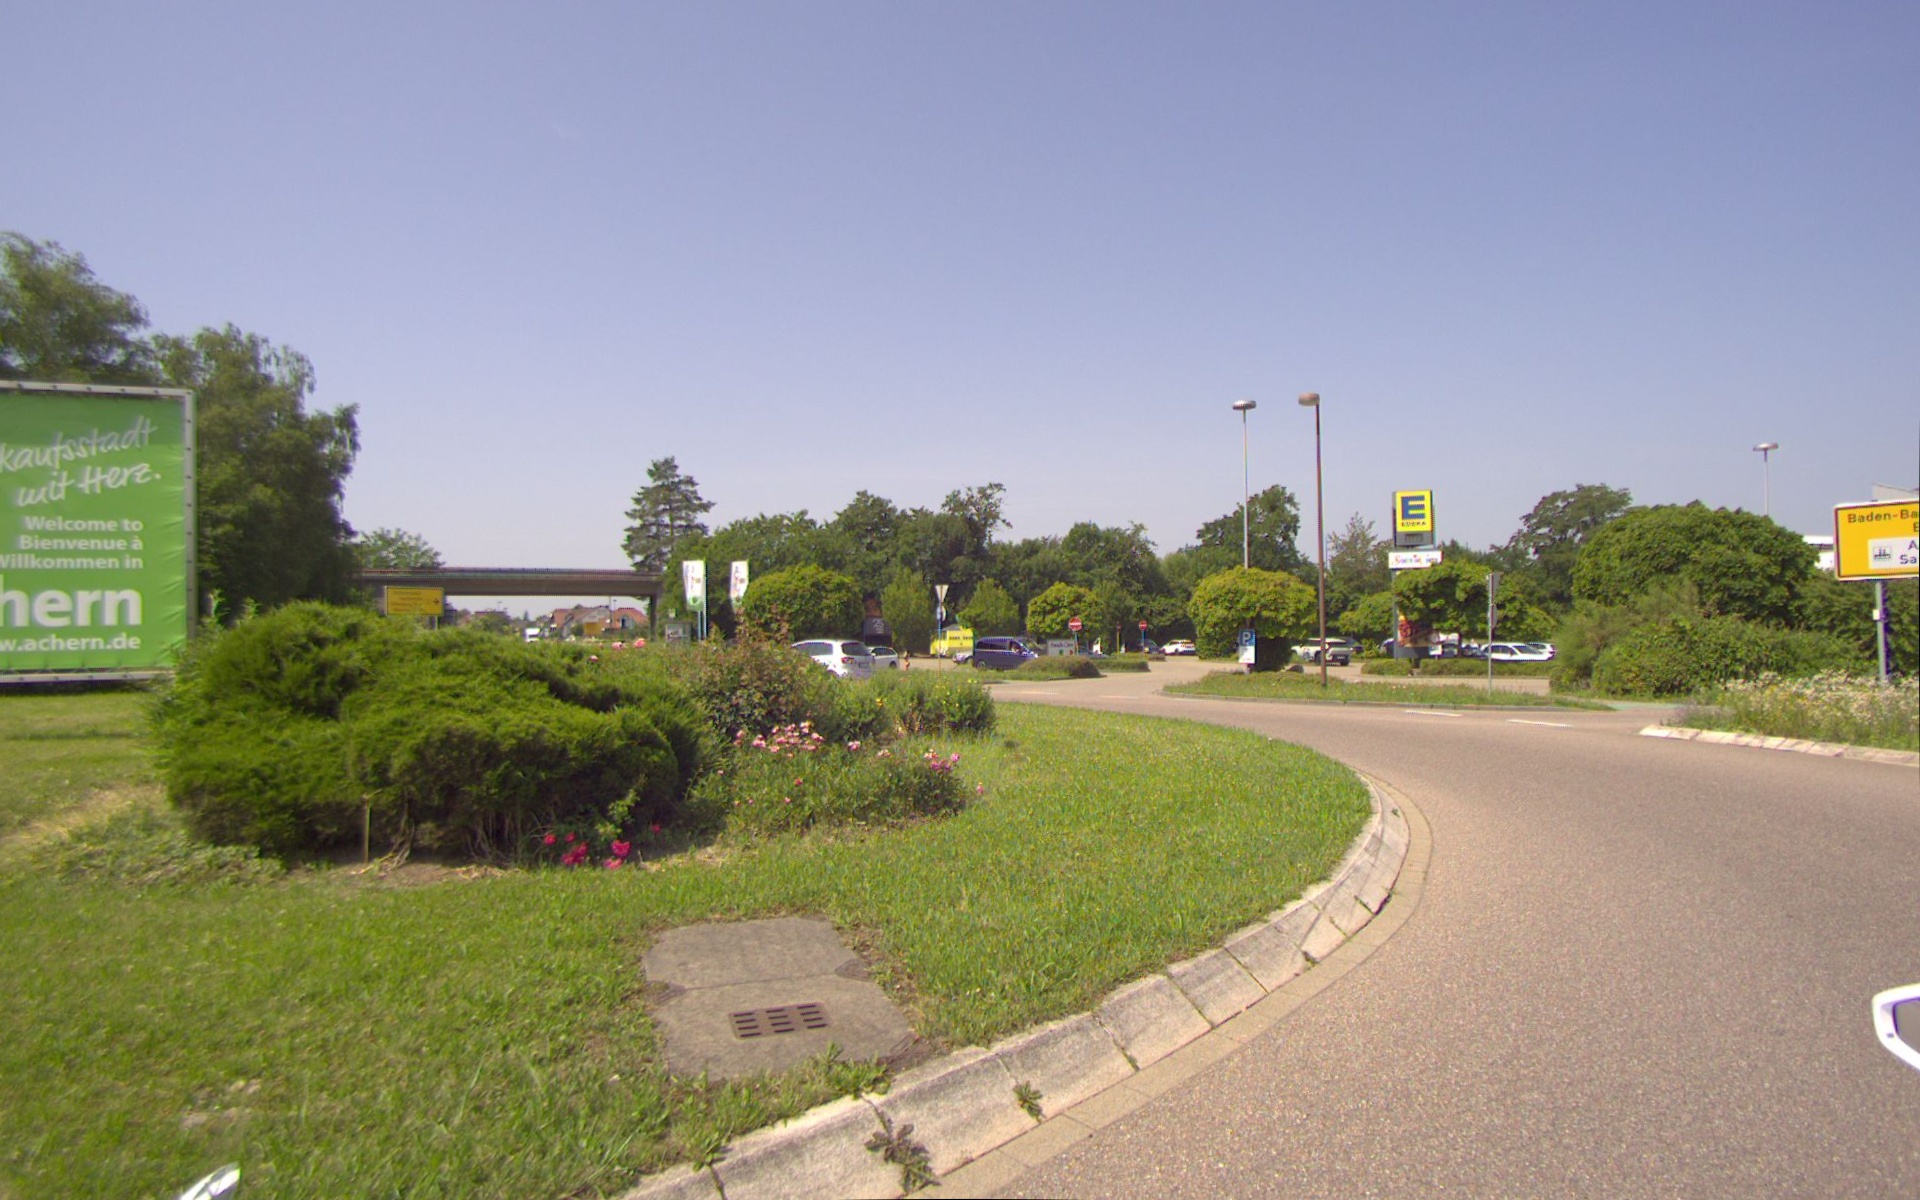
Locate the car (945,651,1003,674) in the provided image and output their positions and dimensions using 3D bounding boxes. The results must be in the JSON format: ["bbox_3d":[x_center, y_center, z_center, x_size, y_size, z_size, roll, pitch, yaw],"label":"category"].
[{"bbox_3d":[0.898,4.071,65.466,3.422,1.398,1.596,1,-1,-20],"label":"car"}]

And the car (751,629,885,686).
[{"bbox_3d":[-4.401,1.718,30.886,3.935,1.572,1.785,1,-1,36],"label":"car"}]

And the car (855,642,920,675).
[{"bbox_3d":[-3.756,3.040,52.953,1.555,1.517,4.564,1,-1,22],"label":"car"}]

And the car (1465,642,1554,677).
[{"bbox_3d":[27.040,2.892,49.614,1.962,1.594,3.997,1,-2,-5],"label":"car"}]

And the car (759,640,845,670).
[{"bbox_3d":[-8.732,3.029,55.503,4.346,1.582,1.865,2,-1,-25],"label":"car"}]

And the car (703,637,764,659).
[{"bbox_3d":[-18.224,3.866,80.848,4.569,1.674,2.019,1,0,-21],"label":"car"}]

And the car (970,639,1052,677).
[{"bbox_3d":[2.682,3.054,53.226,3.941,1.817,1.990,0,-1,41],"label":"car"}]

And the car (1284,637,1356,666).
[{"bbox_3d":[21.107,3.027,59.095,1.947,1.536,3.984,1,-1,-18],"label":"car"}]

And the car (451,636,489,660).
[{"bbox_3d":[-37.583,3.661,77.114,1.997,1.674,4.619,1,0,-18],"label":"car"}]
